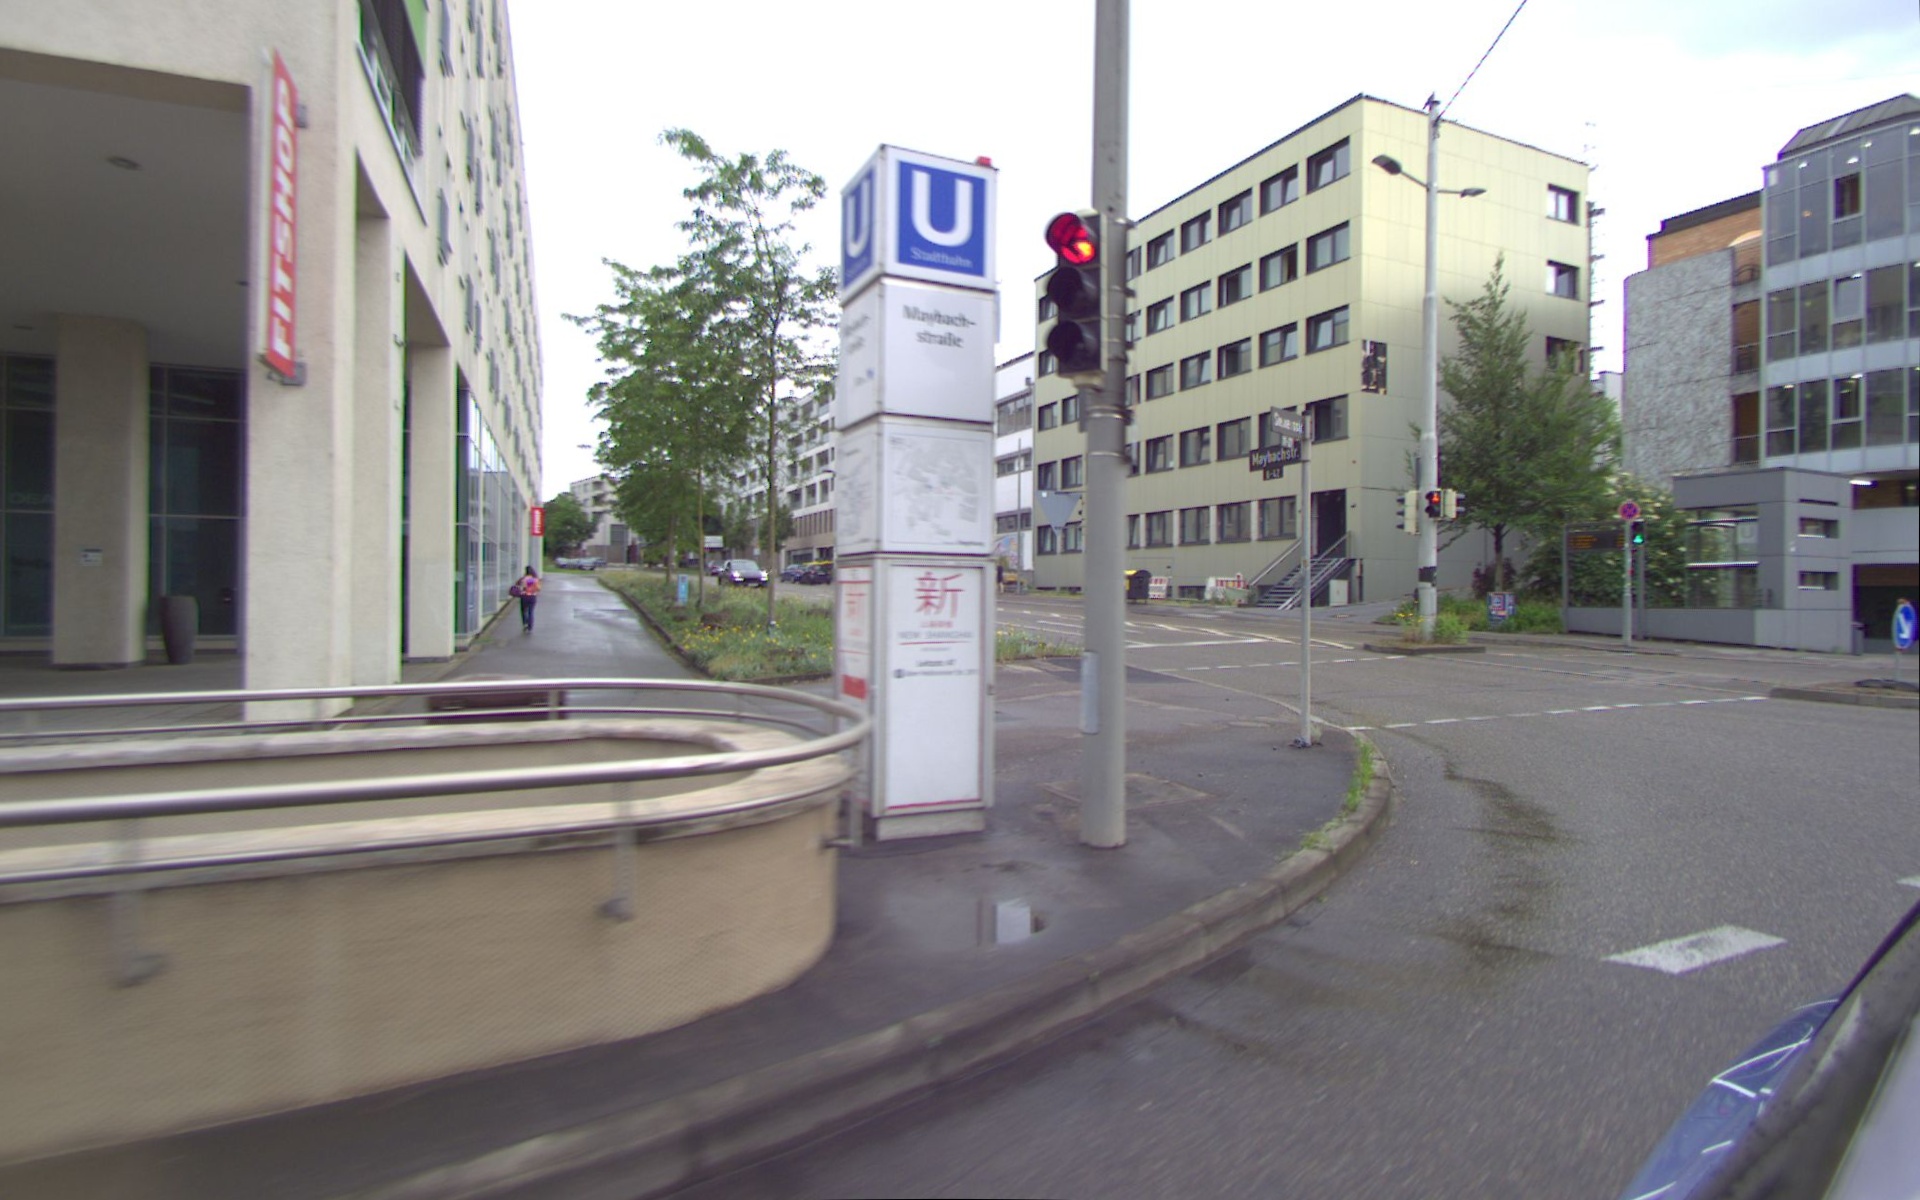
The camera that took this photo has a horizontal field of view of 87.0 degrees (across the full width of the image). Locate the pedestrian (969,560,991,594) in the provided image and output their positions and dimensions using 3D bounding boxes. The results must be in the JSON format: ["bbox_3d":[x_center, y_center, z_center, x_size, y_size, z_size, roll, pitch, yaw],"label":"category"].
[{"bbox_3d":[1.028,-1.192,51.715,0.753,1.696,0.971,-2,3,-24],"label":"pedestrian"}]

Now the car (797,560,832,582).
[{"bbox_3d":[-10.734,-2.139,74.347,1.489,1.528,2.986,2,1,-30],"label":"car"}]

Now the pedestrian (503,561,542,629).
[{"bbox_3d":[-11.559,-0.154,26.779,0.857,1.733,1.090,-2,1,-20],"label":"pedestrian"}]

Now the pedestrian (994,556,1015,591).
[{"bbox_3d":[2.300,-1.393,52.629,0.742,1.752,0.944,-2,3,-22],"label":"pedestrian"}]

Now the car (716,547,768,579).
[{"bbox_3d":[-11.715,-2.017,54.151,1.959,1.593,4.009,-2,4,-23],"label":"car"}]

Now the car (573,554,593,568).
[{"bbox_3d":[-42.555,-4.404,114.201,1.959,1.504,4.009,-2,4,-23],"label":"car"}]

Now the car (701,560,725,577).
[{"bbox_3d":[-25.534,-3.293,104.566,1.597,1.638,3.980,3,1,-26],"label":"car"}]

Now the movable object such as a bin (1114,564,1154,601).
[{"bbox_3d":[7.347,-0.747,42.770,1.036,1.462,1.361,-3,4,-23],"label":"movable object such as a bin"}]

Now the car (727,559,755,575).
[{"bbox_3d":[-20.814,-3.133,96.147,1.629,1.408,3.746,2,2,-27],"label":"car"}]

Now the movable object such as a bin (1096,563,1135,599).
[{"bbox_3d":[6.771,-0.842,44.070,1.036,1.462,1.433,-3,4,-23],"label":"movable object such as a bin"}]
